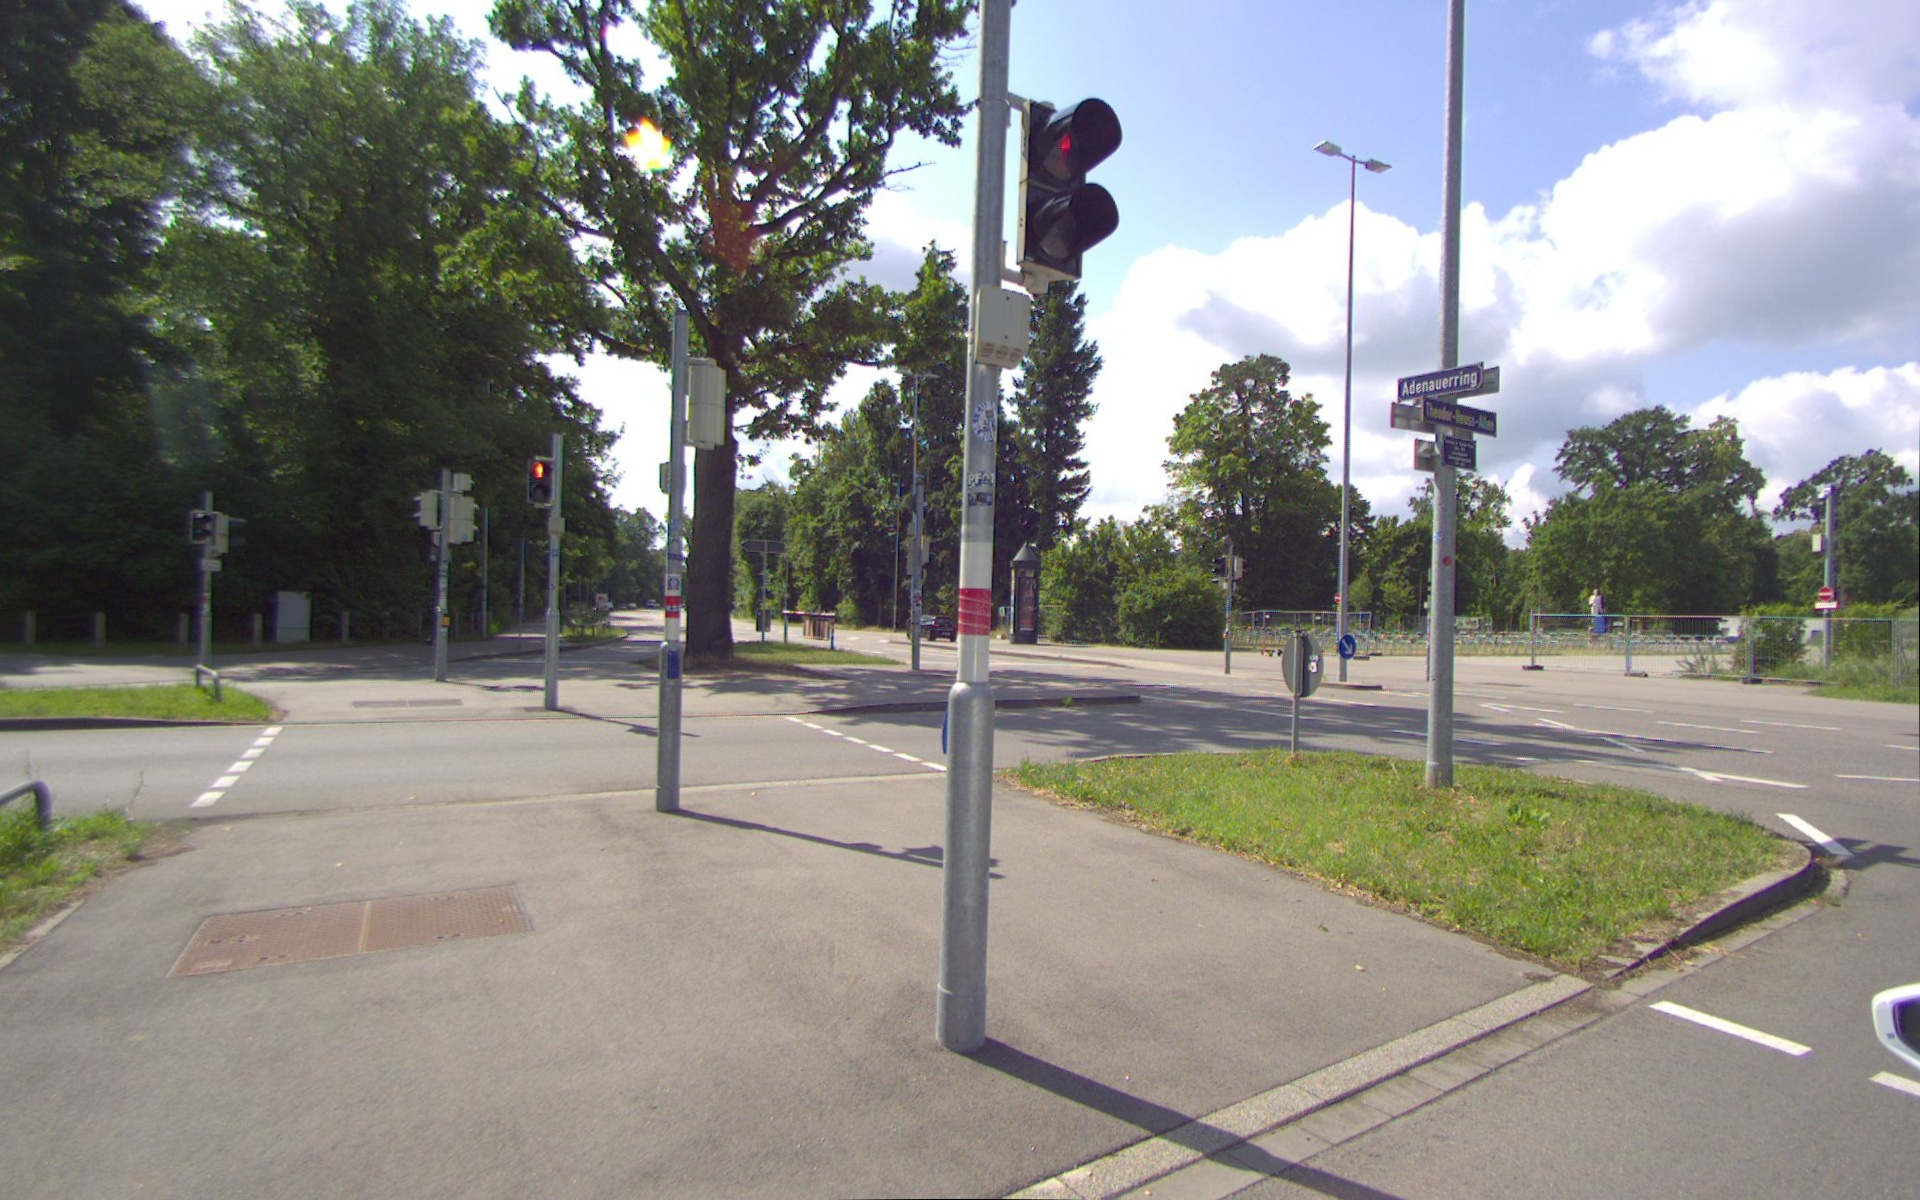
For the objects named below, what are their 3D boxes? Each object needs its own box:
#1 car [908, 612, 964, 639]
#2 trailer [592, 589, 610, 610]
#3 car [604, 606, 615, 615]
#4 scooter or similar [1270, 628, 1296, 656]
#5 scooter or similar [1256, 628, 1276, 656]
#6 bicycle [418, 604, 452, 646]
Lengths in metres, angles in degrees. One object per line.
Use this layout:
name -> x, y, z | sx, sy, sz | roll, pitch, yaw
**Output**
car -> -1.412, 1.410, 57.098 | 1.583, 1.396, 3.947 | 3, -2, -27
trailer -> -44.298, -0.059, 123.864 | 1.970, 2.420, 3.982 | 3, -1, -20
car -> -59.332, 1.827, 170.010 | 1.484, 1.465, 3.518 | 3, -2, -16
scooter or similar -> 14.625, 1.895, 45.526 | 1.298, 1.268, 0.403 | 1, 0, -35
scooter or similar -> 13.668, 1.864, 44.915 | 0.399, 1.216, 1.311 | 1, 0, -3
bicycle -> -15.460, 0.735, 29.611 | 0.413, 1.188, 1.228 | 2, -1, -6
